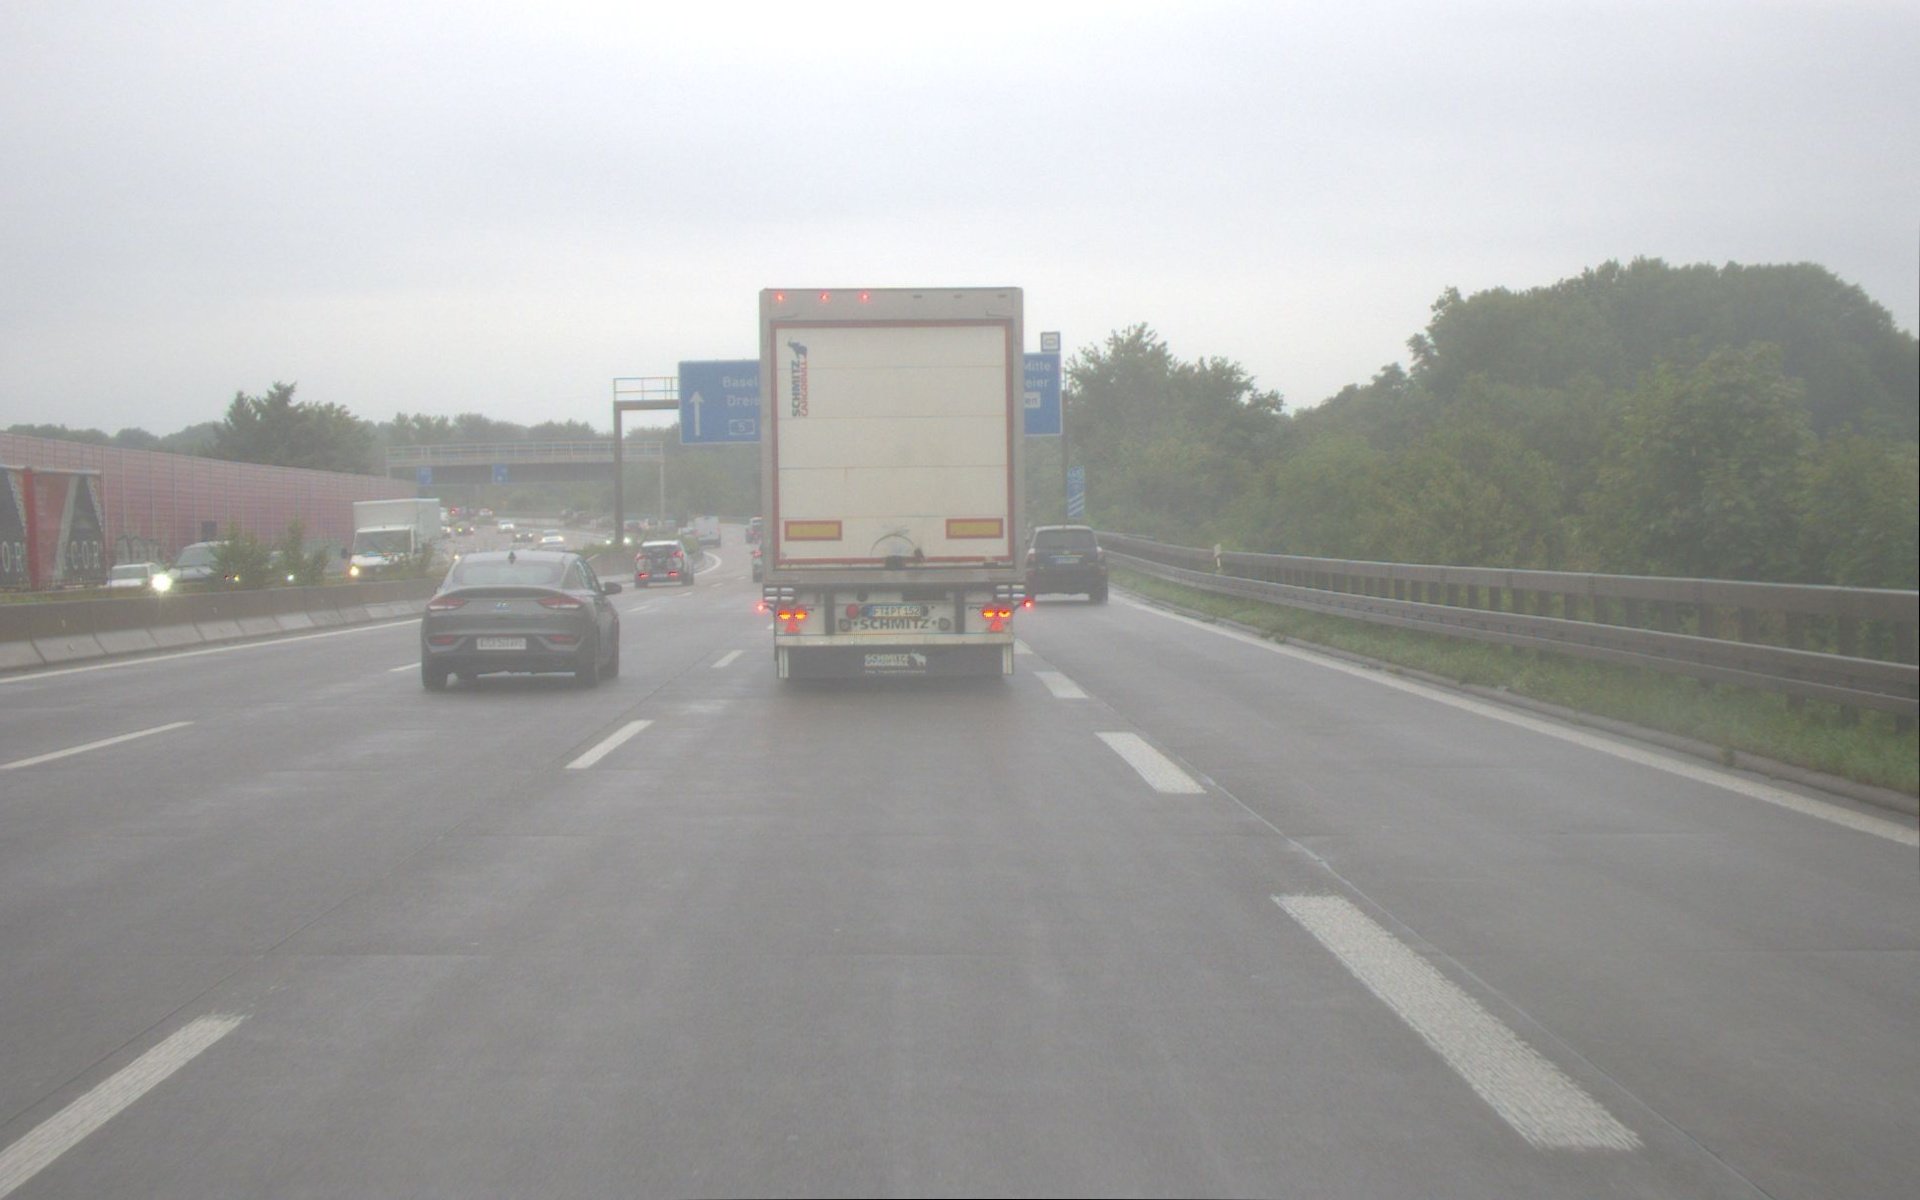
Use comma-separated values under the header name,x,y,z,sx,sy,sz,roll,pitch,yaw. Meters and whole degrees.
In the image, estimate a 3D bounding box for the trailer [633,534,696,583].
name,x,y,z,sx,sy,sz,roll,pitch,yaw
trailer,-10.068,-1.437,117.307,1.815,1.619,4.568,0,1,-1

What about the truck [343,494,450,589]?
name,x,y,z,sx,sy,sz,roll,pitch,yaw
truck,-17.512,-1.823,107.115,2.266,2.819,7.280,1,1,-1

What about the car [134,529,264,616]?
name,x,y,z,sx,sy,sz,roll,pitch,yaw
car,-16.817,-0.633,76.138,1.993,1.853,4.390,0,1,-1

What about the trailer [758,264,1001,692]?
name,x,y,z,sx,sy,sz,roll,pitch,yaw
trailer,-0.861,-1.374,40.843,2.342,4.143,14.828,0,1,-1

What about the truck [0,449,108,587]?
name,x,y,z,sx,sy,sz,roll,pitch,yaw
truck,-24.890,-2.138,90.920,2.780,3.478,8.495,0,1,-1

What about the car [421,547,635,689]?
name,x,y,z,sx,sy,sz,roll,pitch,yaw
car,-4.520,0.147,36.579,1.725,1.398,4.829,0,1,-1

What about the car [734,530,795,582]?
name,x,y,z,sx,sy,sz,roll,pitch,yaw
car,-6.710,-1.527,118.546,1.894,1.717,4.000,-1,1,-1

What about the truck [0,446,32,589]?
name,x,y,z,sx,sy,sz,roll,pitch,yaw
truck,-24.693,-1.961,81.375,2.780,3.478,10.619,0,1,-1

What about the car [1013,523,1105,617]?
name,x,y,z,sx,sy,sz,roll,pitch,yaw
car,2.131,-0.667,74.610,1.897,1.943,4.000,1,1,1

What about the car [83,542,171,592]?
name,x,y,z,sx,sy,sz,roll,pitch,yaw
car,-29.027,-1.165,119.966,1.993,1.642,4.539,-2,1,-1
